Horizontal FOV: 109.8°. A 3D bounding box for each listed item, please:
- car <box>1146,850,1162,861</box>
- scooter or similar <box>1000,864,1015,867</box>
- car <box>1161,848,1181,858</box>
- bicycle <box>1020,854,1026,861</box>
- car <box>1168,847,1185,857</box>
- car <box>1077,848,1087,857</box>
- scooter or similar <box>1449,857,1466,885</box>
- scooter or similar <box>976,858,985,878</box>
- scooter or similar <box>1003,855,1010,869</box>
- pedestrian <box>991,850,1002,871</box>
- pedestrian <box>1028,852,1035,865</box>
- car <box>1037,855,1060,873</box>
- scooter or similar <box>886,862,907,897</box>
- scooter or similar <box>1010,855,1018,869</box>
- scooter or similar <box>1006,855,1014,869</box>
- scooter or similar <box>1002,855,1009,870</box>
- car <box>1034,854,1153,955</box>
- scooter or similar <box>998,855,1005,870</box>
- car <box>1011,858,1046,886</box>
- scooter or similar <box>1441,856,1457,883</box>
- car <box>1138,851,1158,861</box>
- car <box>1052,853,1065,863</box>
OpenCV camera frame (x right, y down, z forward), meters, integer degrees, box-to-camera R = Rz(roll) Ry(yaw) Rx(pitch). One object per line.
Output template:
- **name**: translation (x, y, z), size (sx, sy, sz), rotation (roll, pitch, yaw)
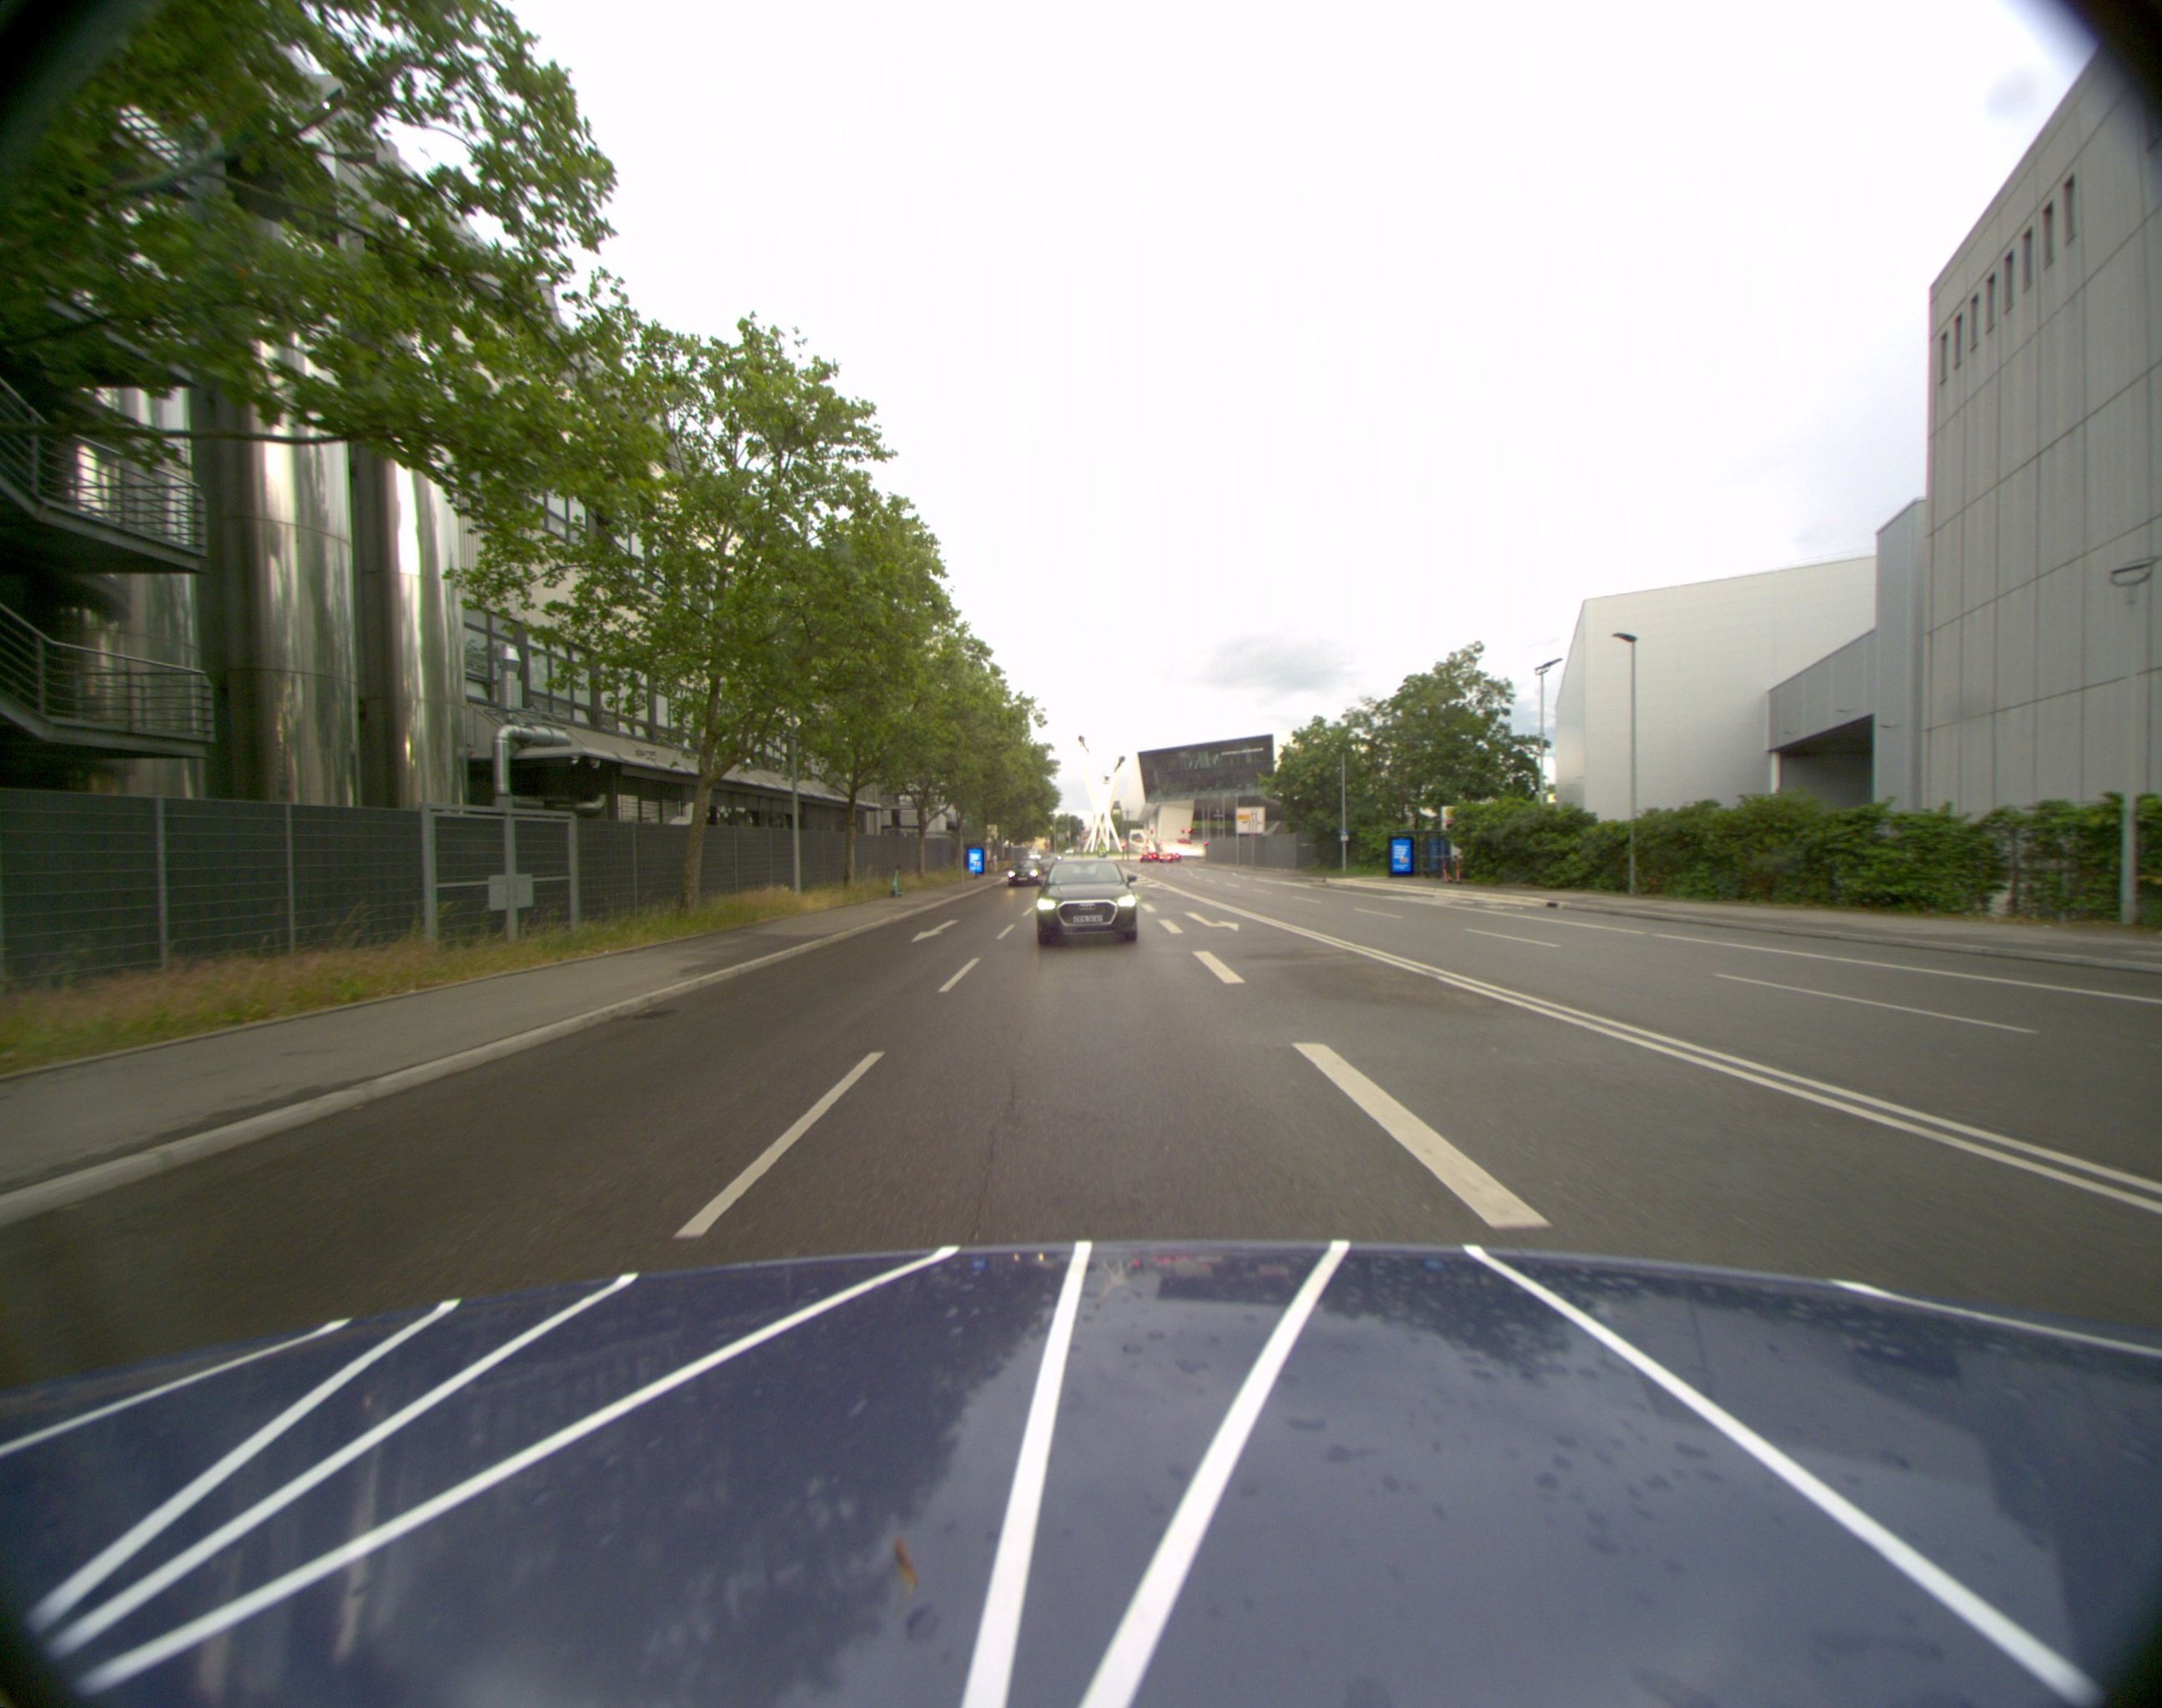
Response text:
- **car**: translation (11.941, 0.223, 123.388), size (1.878, 1.641, 3.857), rotation (-1, 0, 16)
- **scooter or similar**: translation (-7.368, 1.151, 76.339), size (1.184, 0.309, 1.200), rotation (-1, 1, -28)
- **car**: translation (13.737, -0.215, 116.217), size (2.267, 1.469, 4.052), rotation (-1, 1, 18)
- **bicycle**: translation (-7.924, 0.456, 103.865), size (0.727, 0.870, 1.904), rotation (-2, 1, -1)
- **car**: translation (15.485, -0.358, 123.278), size (1.861, 1.641, 3.792), rotation (-1, 0, 19)
- **car**: translation (0.173, -0.292, 149.797), size (1.951, 1.879, 4.490), rotation (0, 0, -1)
- **scooter or similar**: translation (16.210, 0.714, 32.724), size (0.379, 1.174, 1.379), rotation (-1, 1, 14)
- **scooter or similar**: translation (-6.741, 0.901, 50.955), size (0.329, 1.301, 1.246), rotation (-1, 1, 5)
- **scooter or similar**: translation (-6.799, 0.742, 69.487), size (0.437, 1.288, 1.300), rotation (-1, 1, 3)
- **pedestrian**: translation (-7.061, 0.530, 63.669), size (0.778, 1.700, 0.729), rotation (-1, 1, 0)
- **pedestrian**: translation (-6.080, 0.545, 93.155), size (0.723, 1.610, 0.833), rotation (1, 2, -1)
- **car**: translation (-2.778, 0.869, 66.074), size (1.842, 1.444, 4.785), rotation (-2, 0, -1)
- **scooter or similar**: translation (-6.922, 0.962, 28.554), size (0.329, 1.262, 1.109), rotation (-1, 1, 9)
- **scooter or similar**: translation (-6.621, 0.797, 75.042), size (0.437, 1.278, 1.301), rotation (-1, 1, 8)
- **scooter or similar**: translation (-6.685, 0.726, 71.423), size (0.437, 1.288, 1.367), rotation (-1, 1, 8)
- **scooter or similar**: translation (-6.707, 0.754, 67.328), size (0.437, 1.288, 1.300), rotation (-1, 1, 3)
- **car**: translation (0.156, 0.846, 15.434), size (1.951, 1.609, 5.276), rotation (-2, 0, -1)
- **scooter or similar**: translation (-6.884, 0.742, 65.910), size (0.437, 1.288, 1.300), rotation (-1, 1, 3)
- **car**: translation (-2.957, 0.996, 43.105), size (1.881, 1.485, 4.075), rotation (0, 0, -3)
- **scooter or similar**: translation (16.536, 0.687, 34.113), size (0.389, 1.173, 1.251), rotation (-1, 1, 14)
- **car**: translation (10.408, 0.372, 118.299), size (2.255, 1.469, 3.884), rotation (-1, 1, 18)
- **car**: translation (-3.695, 0.583, 125.379), size (1.951, 1.610, 4.072), rotation (0, 0, -1)
